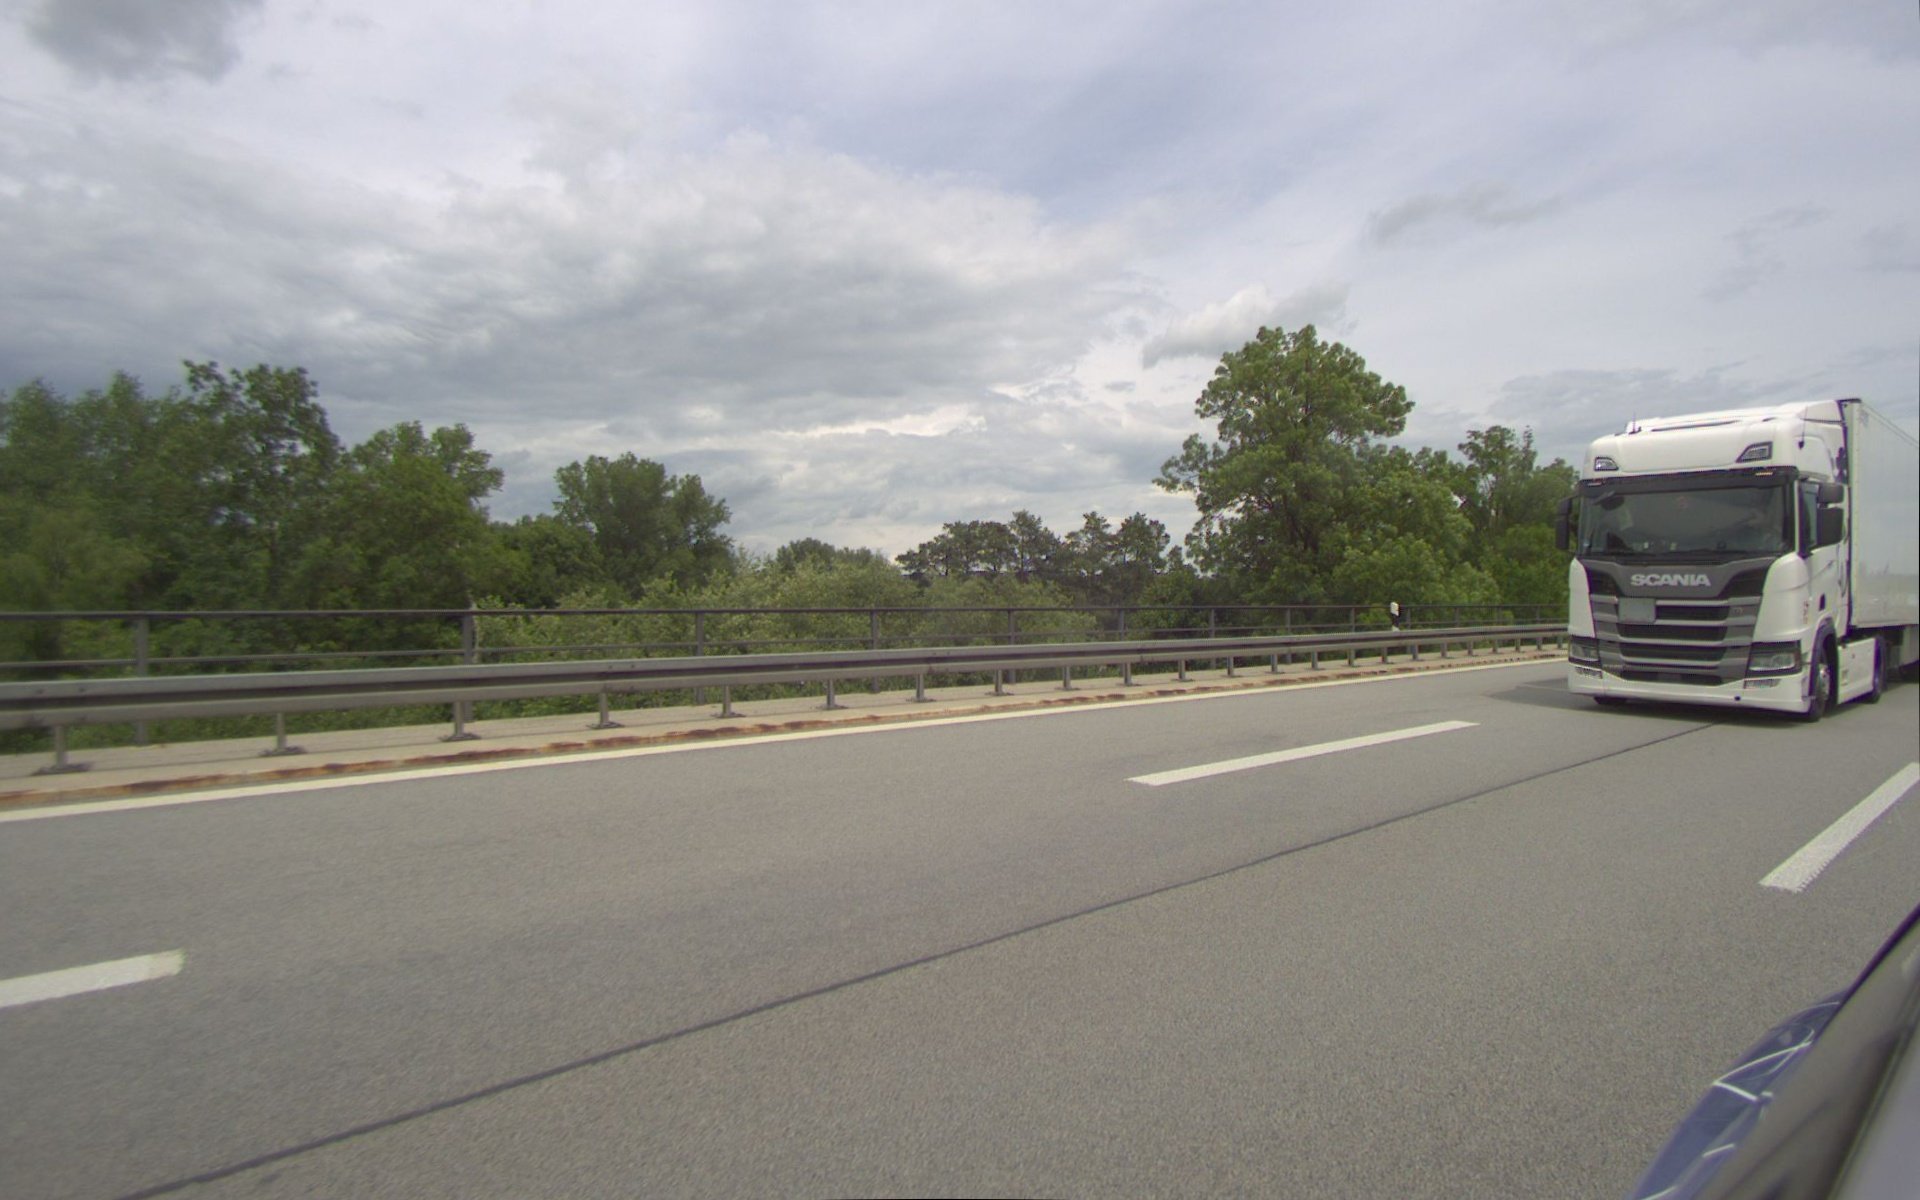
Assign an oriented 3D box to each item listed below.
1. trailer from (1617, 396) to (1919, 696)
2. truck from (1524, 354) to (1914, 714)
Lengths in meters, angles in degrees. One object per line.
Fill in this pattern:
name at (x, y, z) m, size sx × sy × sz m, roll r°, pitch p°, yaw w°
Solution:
trailer at (16.347, -0.703, 18.782) m, size 13.543 × 3.940 × 3.069 m, roll 0°, pitch 0°, yaw -40°
truck at (10.747, -0.728, 14.145) m, size 5.892 × 3.941 × 3.069 m, roll 0°, pitch 0°, yaw -40°
